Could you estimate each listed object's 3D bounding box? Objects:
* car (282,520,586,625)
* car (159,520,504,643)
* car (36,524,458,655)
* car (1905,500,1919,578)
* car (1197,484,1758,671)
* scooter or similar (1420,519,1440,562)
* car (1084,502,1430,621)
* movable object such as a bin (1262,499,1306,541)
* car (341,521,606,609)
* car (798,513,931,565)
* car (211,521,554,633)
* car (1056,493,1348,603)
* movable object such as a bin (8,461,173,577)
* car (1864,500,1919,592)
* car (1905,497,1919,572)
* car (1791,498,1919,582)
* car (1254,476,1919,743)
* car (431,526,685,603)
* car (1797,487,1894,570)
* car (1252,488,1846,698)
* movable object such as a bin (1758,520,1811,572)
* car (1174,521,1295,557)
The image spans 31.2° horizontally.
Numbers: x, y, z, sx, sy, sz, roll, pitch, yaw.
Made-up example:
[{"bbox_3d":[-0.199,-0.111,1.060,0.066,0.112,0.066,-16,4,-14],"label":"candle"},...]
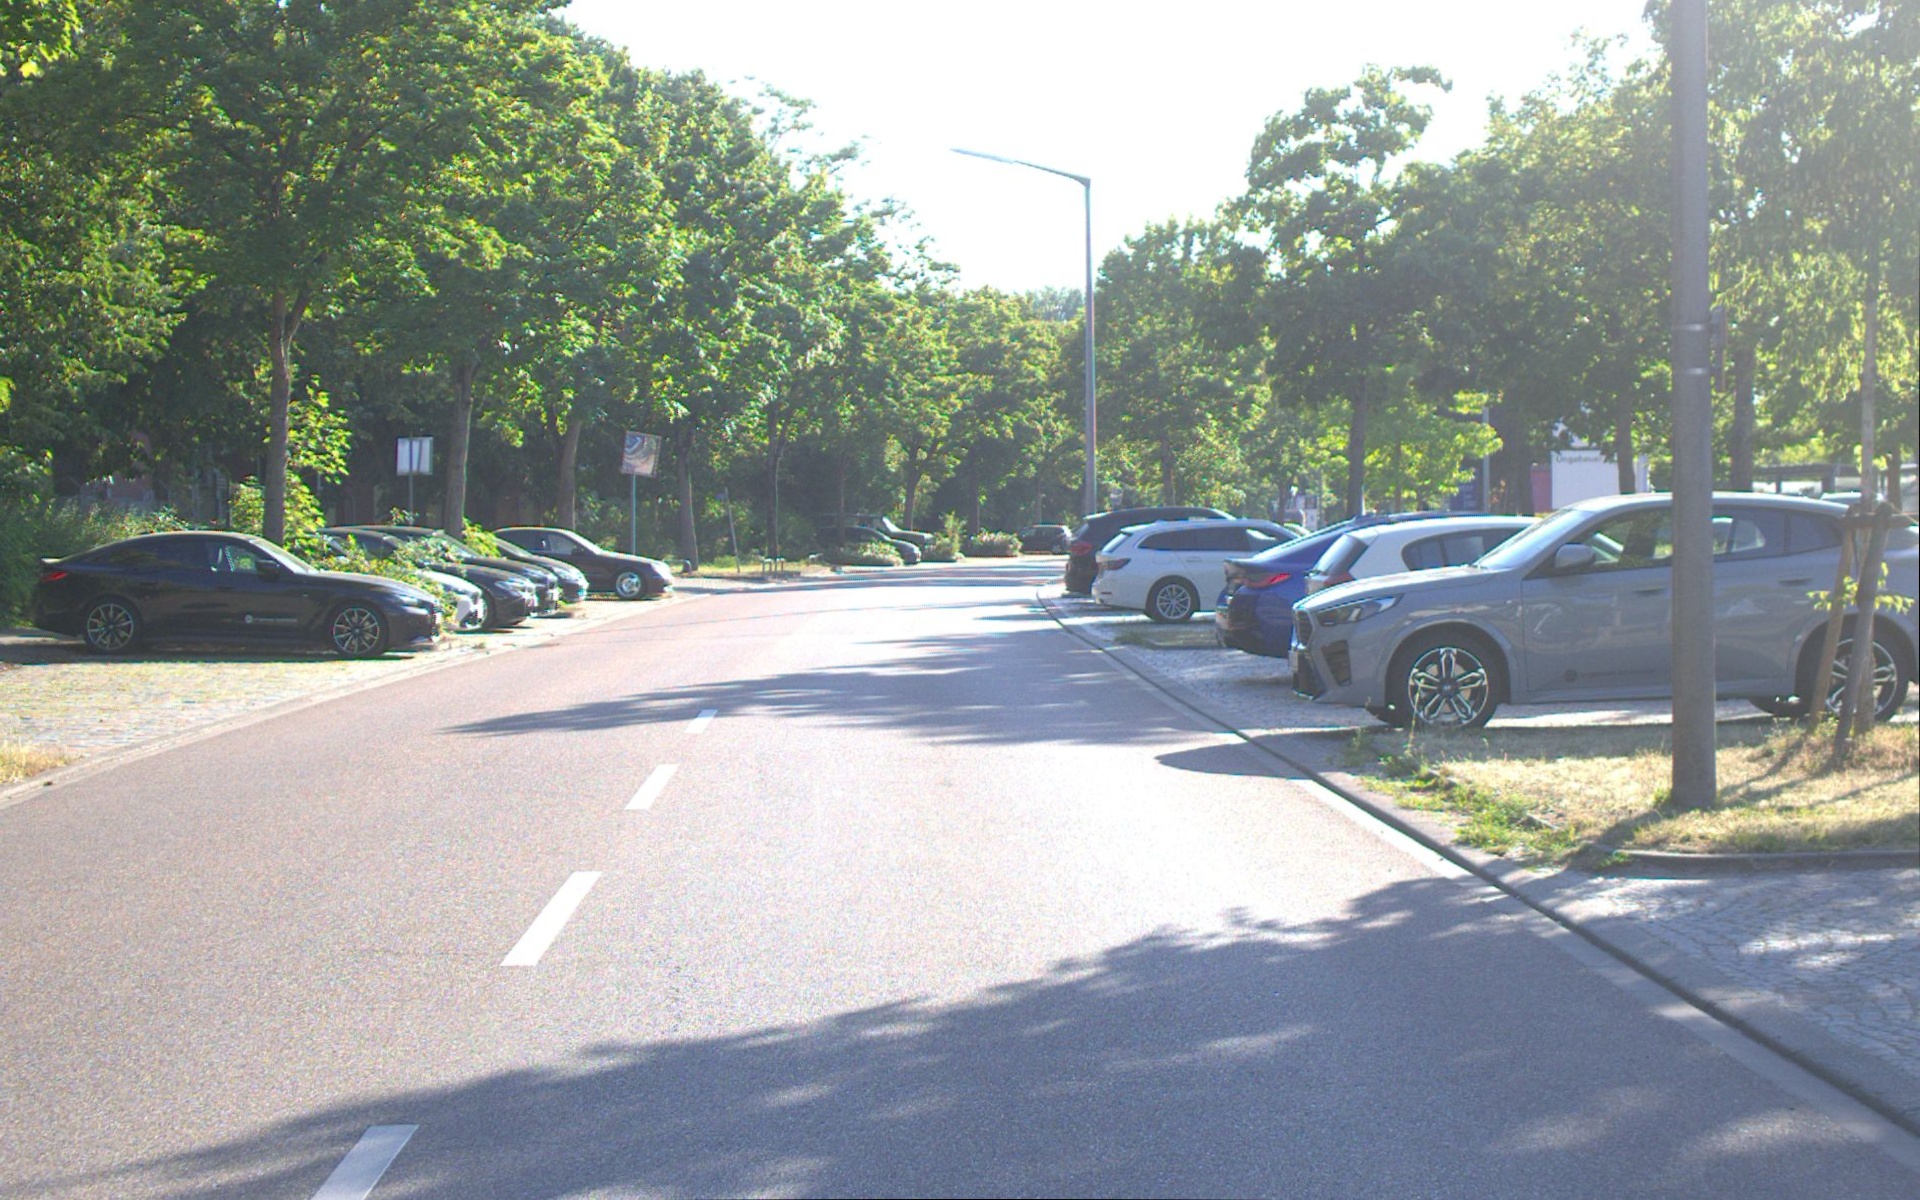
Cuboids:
[{"bbox_3d":[-8.283,-0.450,54.409,4.479,1.525,2.000,1,1,0],"label":"car"},{"bbox_3d":[-8.494,-0.267,46.756,4.286,1.525,2.000,1,1,1],"label":"car"},{"bbox_3d":[-8.424,-0.144,40.948,4.648,1.417,1.917,1,1,-2],"label":"car"},{"bbox_3d":[20.075,-1.156,63.224,4.785,1.458,2.042,0,1,41],"label":"car"},{"bbox_3d":[4.522,-0.215,30.540,4.624,1.451,2.000,-2,1,0],"label":"car"},{"bbox_3d":[13.982,-1.785,102.293,0.520,1.267,1.387,0,1,5],"label":"scooter or similar"},{"bbox_3d":[4.189,-0.567,49.026,4.694,1.474,2.000,-2,2,0],"label":"car"},{"bbox_3d":[24.194,-5.961,256.707,2.839,3.058,4.925,2,2,10],"label":"movable object such as a bin"},{"bbox_3d":[-8.733,-0.639,62.019,4.479,1.457,2.000,1,1,0],"label":"car"},{"bbox_3d":[-3.793,-2.429,136.579,5.006,2.013,2.174,0,1,7],"label":"car"},{"bbox_3d":[-8.603,-0.357,51.549,4.849,1.525,2.000,1,1,-3],"label":"car"},{"bbox_3d":[3.987,-0.863,56.689,4.695,1.745,2.191,0,1,4],"label":"car"},{"bbox_3d":[-20.669,-1.917,81.602,2.158,2.655,4.804,-1,1,-35],"label":"movable object such as a bin"},{"bbox_3d":[17.007,-0.883,54.580,1.995,1.458,4.786,-2,2,-45],"label":"car"},{"bbox_3d":[20.906,-1.289,66.240,4.785,1.458,1.995,0,1,41],"label":"car"},{"bbox_3d":[17.437,-1.080,61.151,4.785,1.458,1.995,0,1,41],"label":"car"},{"bbox_3d":[4.435,0.029,23.202,4.590,1.579,2.000,-2,1,-3],"label":"car"},{"bbox_3d":[-8.359,-0.749,71.759,5.035,1.457,2.000,1,1,0],"label":"car"},{"bbox_3d":[20.314,-1.650,78.756,2.033,1.821,4.973,0,1,16],"label":"car"},{"bbox_3d":[4.650,-0.079,27.638,4.376,1.474,2.000,-2,1,0],"label":"car"},{"bbox_3d":[19.983,-1.311,83.341,1.117,1.263,1.038,0,1,7],"label":"movable object such as a bin"},{"bbox_3d":[12.046,-2.679,150.781,5.177,1.568,2.157,0,1,9],"label":"car"}]
